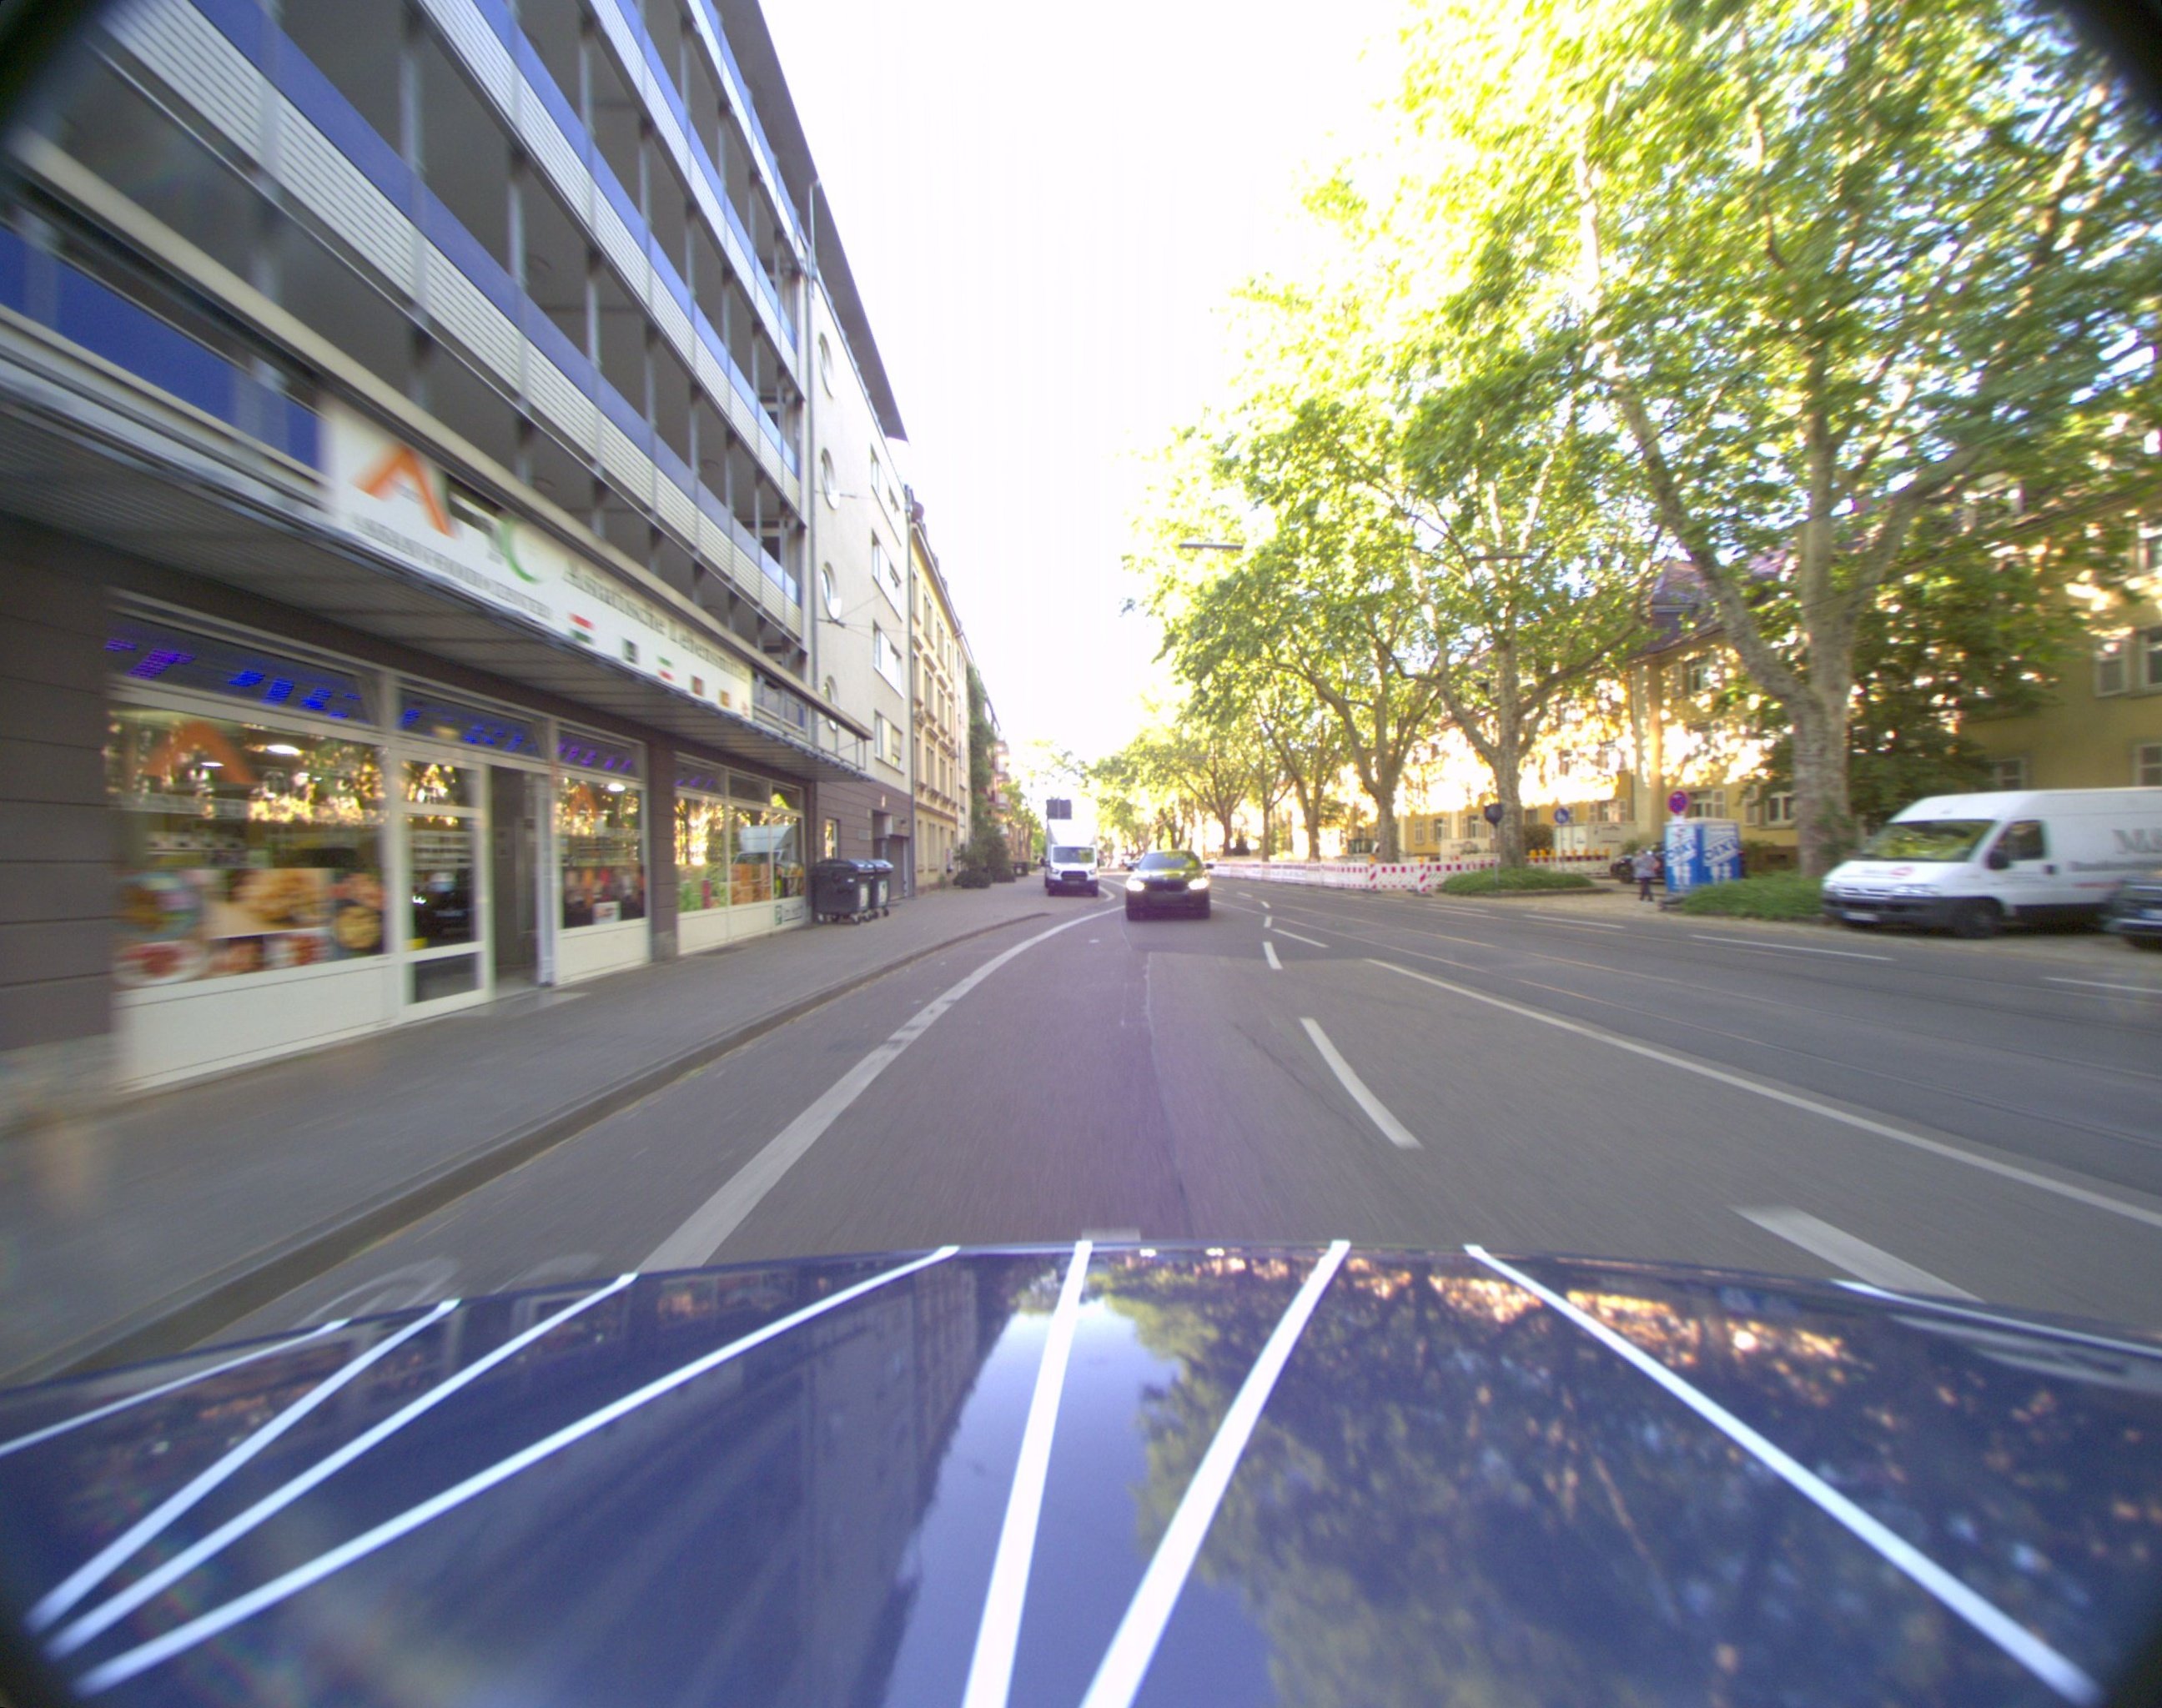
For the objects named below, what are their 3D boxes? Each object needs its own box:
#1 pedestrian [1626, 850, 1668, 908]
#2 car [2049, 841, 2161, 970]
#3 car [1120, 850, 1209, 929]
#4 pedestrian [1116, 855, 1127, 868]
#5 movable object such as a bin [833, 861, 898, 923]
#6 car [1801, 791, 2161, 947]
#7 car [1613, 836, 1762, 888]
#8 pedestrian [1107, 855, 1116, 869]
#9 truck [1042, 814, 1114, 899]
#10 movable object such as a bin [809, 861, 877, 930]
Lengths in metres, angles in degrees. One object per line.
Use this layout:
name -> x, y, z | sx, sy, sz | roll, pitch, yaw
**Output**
pedestrian -> 15.596, 0.672, 20.945 | 0.597, 1.563, 0.717 | -1, 0, -10
car -> 15.933, 0.607, 9.774 | 4.575, 1.621, 1.969 | -1, 0, -2
car -> 2.193, 0.798, 19.309 | 1.942, 1.733, 4.478 | -2, 0, 8
pedestrian -> 4.524, 0.841, 85.376 | 0.889, 1.533, 0.946 | -1, 0, -21
movable object such as a bin -> -5.249, 0.897, 18.618 | 1.122, 1.437, 1.306 | -1, 0, 4
car -> 15.859, 0.217, 12.800 | 5.612, 2.362, 2.025 | -1, 0, -1
car -> 21.015, 0.256, 26.583 | 1.829, 1.592, 4.221 | -3, 0, 1
pedestrian -> 3.517, 0.878, 86.623 | 0.749, 1.533, 0.865 | -1, 0, -21
truck -> -0.317, 0.105, 33.407 | 2.385, 3.166, 8.525 | 2, 0, -5
movable object such as a bin -> -5.199, 0.882, 16.722 | 1.069, 1.438, 1.296 | -1, 0, 0
